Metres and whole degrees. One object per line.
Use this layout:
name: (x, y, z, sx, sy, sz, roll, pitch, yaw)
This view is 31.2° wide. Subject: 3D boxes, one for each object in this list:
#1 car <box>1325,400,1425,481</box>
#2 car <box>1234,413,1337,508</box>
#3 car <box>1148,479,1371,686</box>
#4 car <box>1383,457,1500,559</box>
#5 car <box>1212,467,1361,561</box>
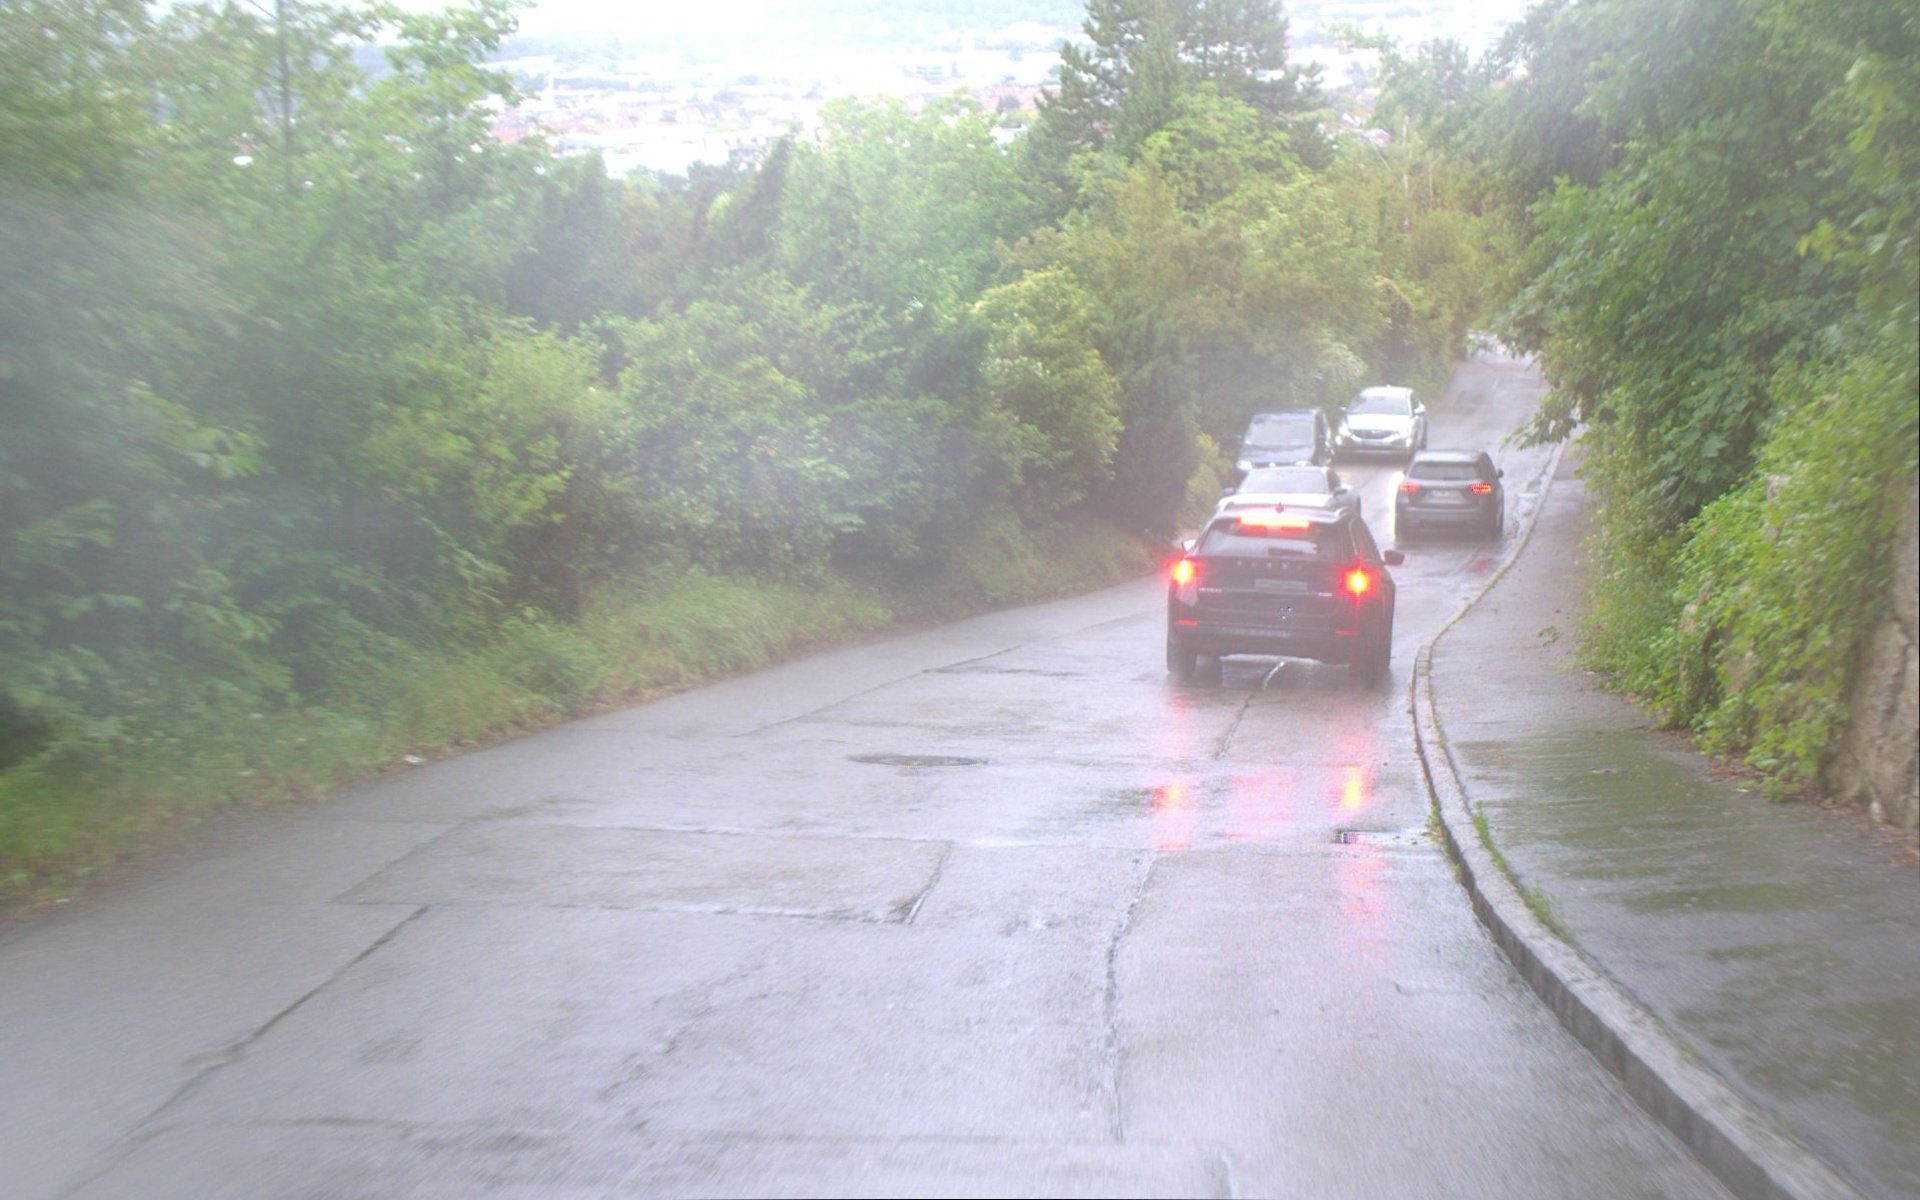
car: (9.979, -3.850, 82.442, 2.049, 1.595, 4.229, 3, 7, 10)
car: (6.931, -2.989, 72.867, 1.690, 1.776, 4.231, 1, 5, 12)
car: (2.638, -0.212, 29.608, 1.700, 1.445, 4.000, 1, 5, 8)
car: (8.734, -1.647, 62.153, 1.864, 1.737, 3.998, 2, 1, 10)
car: (5.713, -1.472, 59.652, 1.942, 1.517, 4.576, 2, 1, 13)
